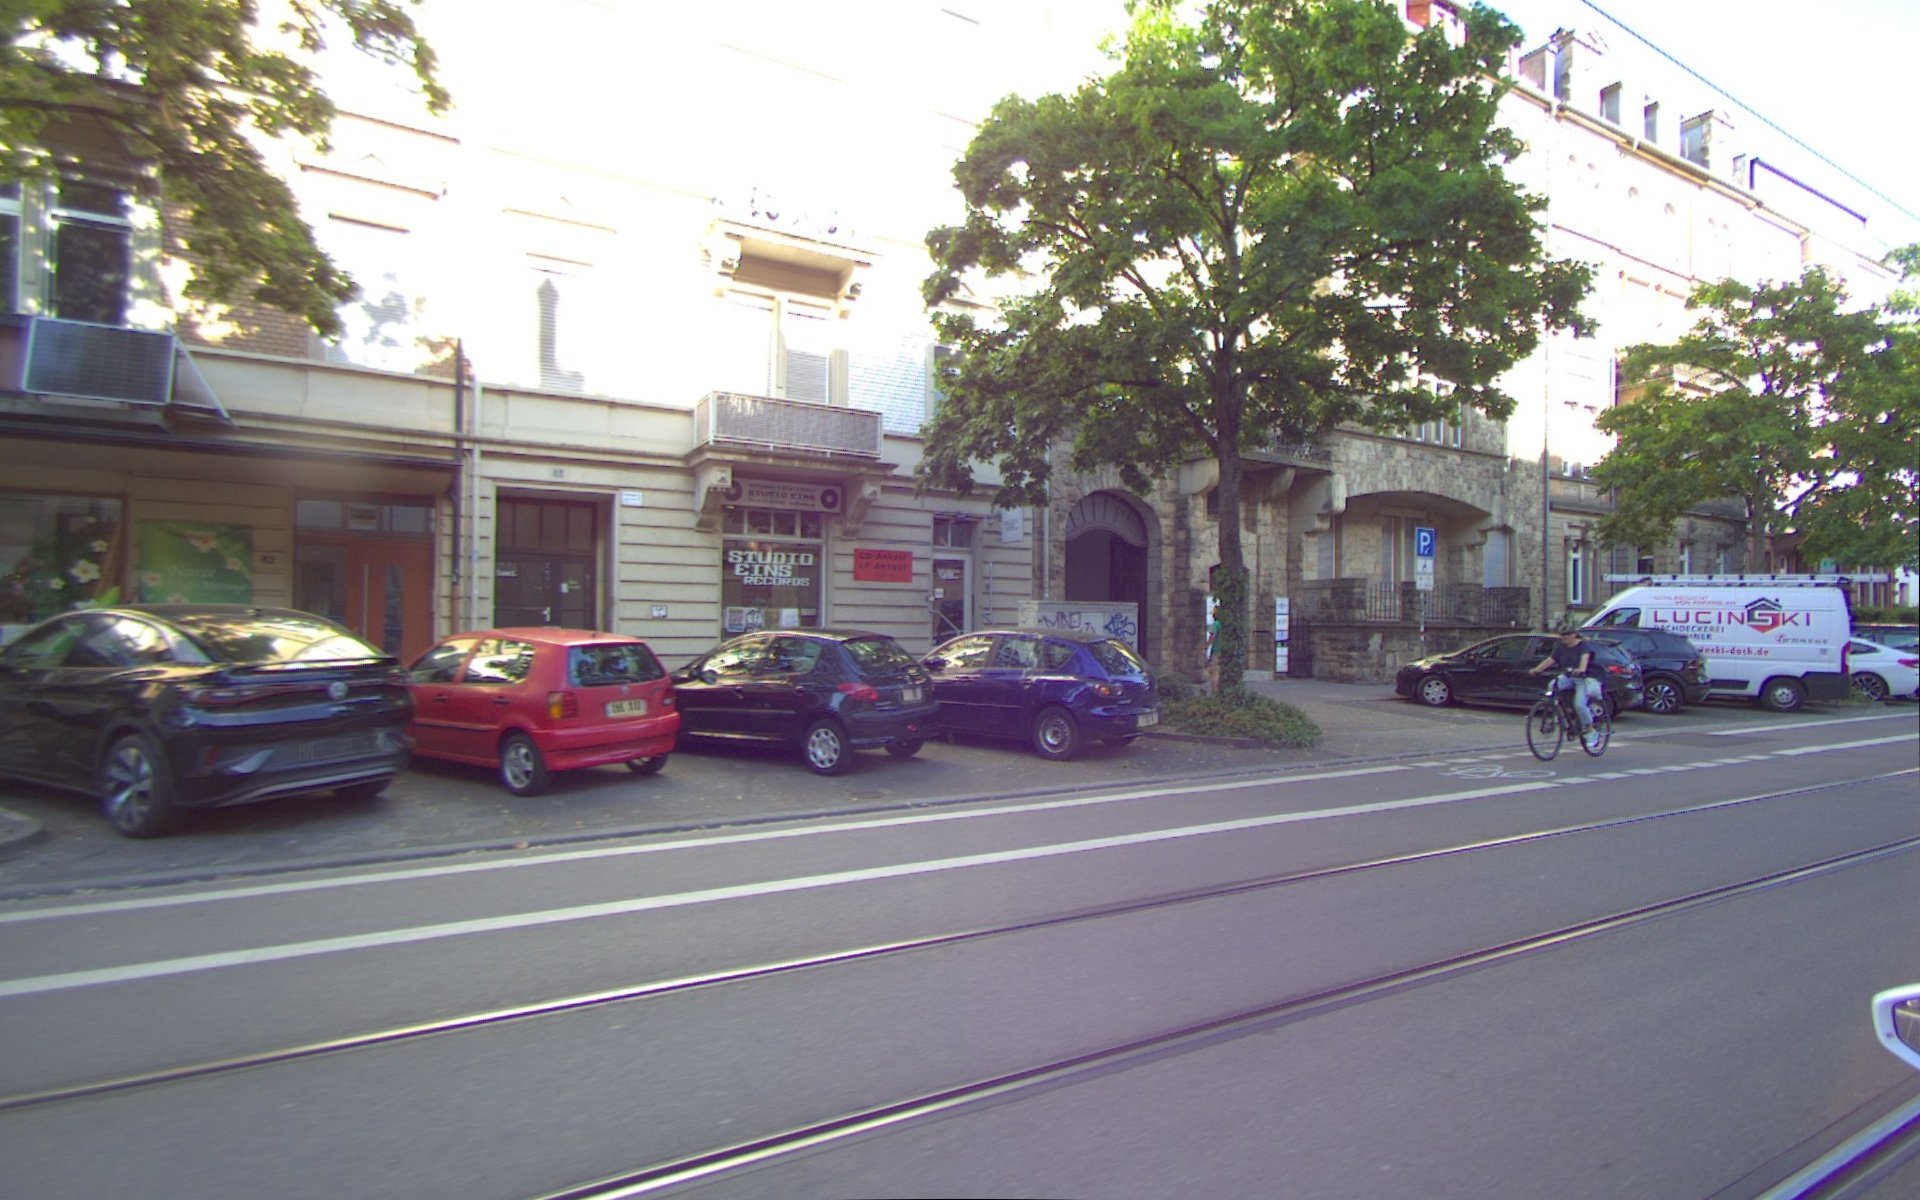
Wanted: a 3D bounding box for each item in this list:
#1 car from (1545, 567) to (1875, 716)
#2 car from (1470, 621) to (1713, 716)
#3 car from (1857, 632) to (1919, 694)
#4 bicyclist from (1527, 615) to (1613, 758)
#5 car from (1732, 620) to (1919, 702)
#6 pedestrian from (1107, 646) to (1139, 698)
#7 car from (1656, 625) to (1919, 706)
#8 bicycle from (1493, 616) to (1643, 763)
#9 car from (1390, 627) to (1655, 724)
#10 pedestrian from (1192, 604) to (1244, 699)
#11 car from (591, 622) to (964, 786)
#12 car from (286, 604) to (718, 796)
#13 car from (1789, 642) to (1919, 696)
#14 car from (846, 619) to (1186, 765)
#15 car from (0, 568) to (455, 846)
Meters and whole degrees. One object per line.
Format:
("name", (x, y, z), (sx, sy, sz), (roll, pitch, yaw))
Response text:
("car", (15.248, 0.774, 20.894), (5.293, 2.785, 1.802), (1, -1, 31))
("car", (12.446, 1.282, 19.960), (3.934, 1.639, 1.707), (1, -1, 35))
("car", (27.327, 1.770, 27.743), (3.678, 1.644, 1.781), (1, -1, 39))
("bicyclist", (7.561, 1.050, 12.463), (0.718, 1.704, 0.631), (2, -1, -30))
("car", (21.641, 1.455, 24.821), (3.934, 1.841, 1.707), (1, -1, 35))
("pedestrian", (3.000, 1.322, 18.528), (0.454, 0.934, 0.352), (2, -1, -31))
("car", (19.212, 1.461, 23.426), (4.684, 1.639, 1.710), (1, -1, 28))
("bicycle", (7.570, 1.069, 12.480), (2.072, 1.701, 0.677), (2, -1, -30))
("car", (10.250, 1.298, 18.478), (3.945, 1.509, 1.795), (0, -1, 44))
("pedestrian", (4.856, 0.959, 18.896), (0.753, 1.749, 0.575), (2, -1, -31))
("car", (-2.113, 1.057, 11.523), (3.927, 1.509, 1.804), (1, -1, 28))
("car", (-4.555, 0.841, 9.944), (3.927, 1.509, 1.865), (1, -1, 28))
("car", (24.358, 1.825, 26.448), (3.746, 1.282, 1.512), (1, -1, 35))
("car", (0.661, 1.042, 12.752), (3.931, 1.509, 1.802), (1, -1, 33))
("car", (-6.567, 0.689, 8.353), (4.284, 1.806, 1.994), (1, -1, 25))
